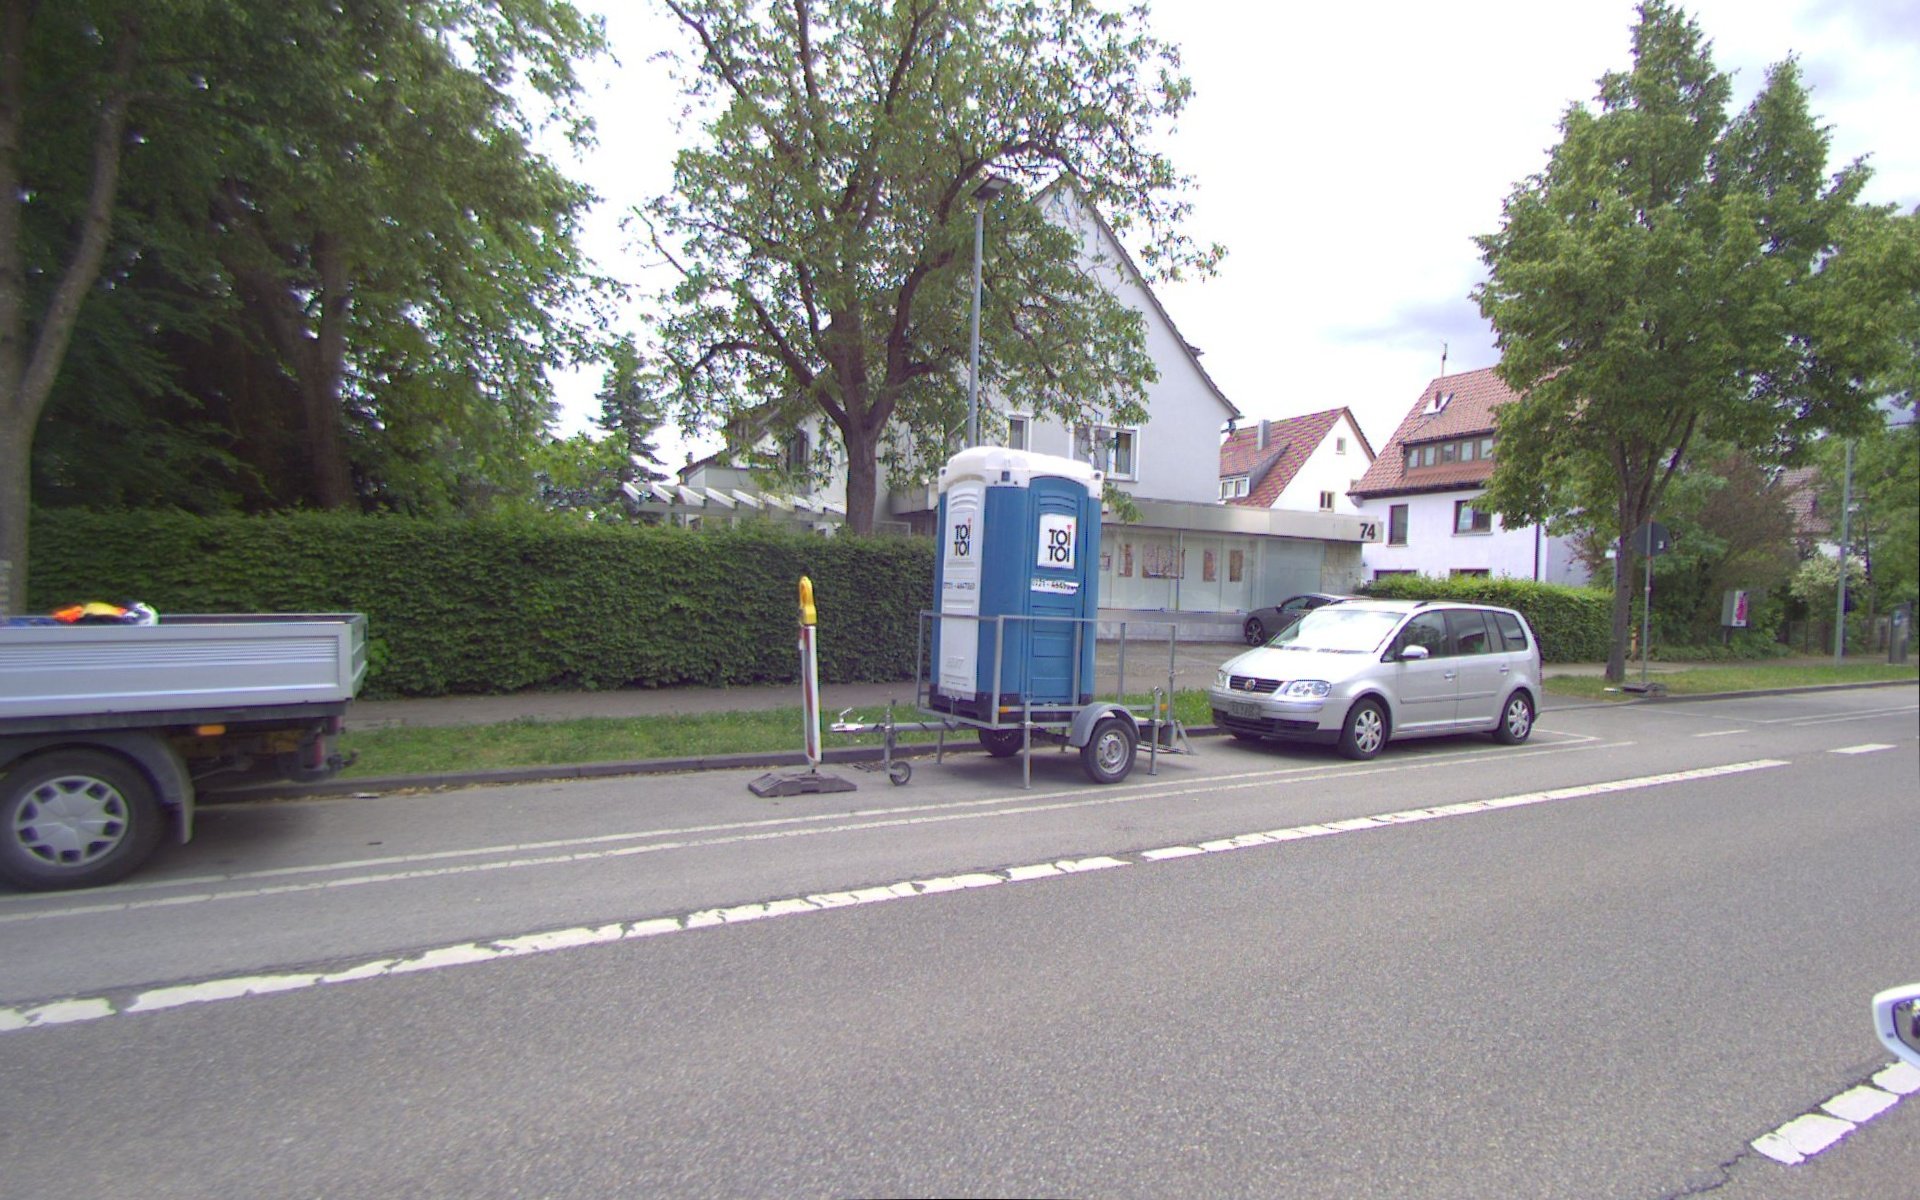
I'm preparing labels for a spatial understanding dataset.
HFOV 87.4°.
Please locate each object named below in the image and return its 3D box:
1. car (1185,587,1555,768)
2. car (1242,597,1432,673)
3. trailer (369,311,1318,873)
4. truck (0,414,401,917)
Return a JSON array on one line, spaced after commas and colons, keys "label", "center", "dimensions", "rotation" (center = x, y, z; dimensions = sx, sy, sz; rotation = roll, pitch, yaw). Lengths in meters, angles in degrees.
[{"label": "car", "center": [4.701, 0.786, 11.358], "dimensions": [4.177, 1.706, 1.680], "rotation": [2, 0, -31]}, {"label": "car", "center": [8.555, 0.730, 23.190], "dimensions": [1.775, 1.452, 4.070], "rotation": [1, 2, -23]}, {"label": "trailer", "center": [-0.581, 0.012, 8.006], "dimensions": [6.920, 3.002, 2.363], "rotation": [1, 0, -27]}, {"label": "truck", "center": [-6.441, 0.271, 4.872], "dimensions": [6.380, 2.317, 2.286], "rotation": [1, 0, -27]}]
